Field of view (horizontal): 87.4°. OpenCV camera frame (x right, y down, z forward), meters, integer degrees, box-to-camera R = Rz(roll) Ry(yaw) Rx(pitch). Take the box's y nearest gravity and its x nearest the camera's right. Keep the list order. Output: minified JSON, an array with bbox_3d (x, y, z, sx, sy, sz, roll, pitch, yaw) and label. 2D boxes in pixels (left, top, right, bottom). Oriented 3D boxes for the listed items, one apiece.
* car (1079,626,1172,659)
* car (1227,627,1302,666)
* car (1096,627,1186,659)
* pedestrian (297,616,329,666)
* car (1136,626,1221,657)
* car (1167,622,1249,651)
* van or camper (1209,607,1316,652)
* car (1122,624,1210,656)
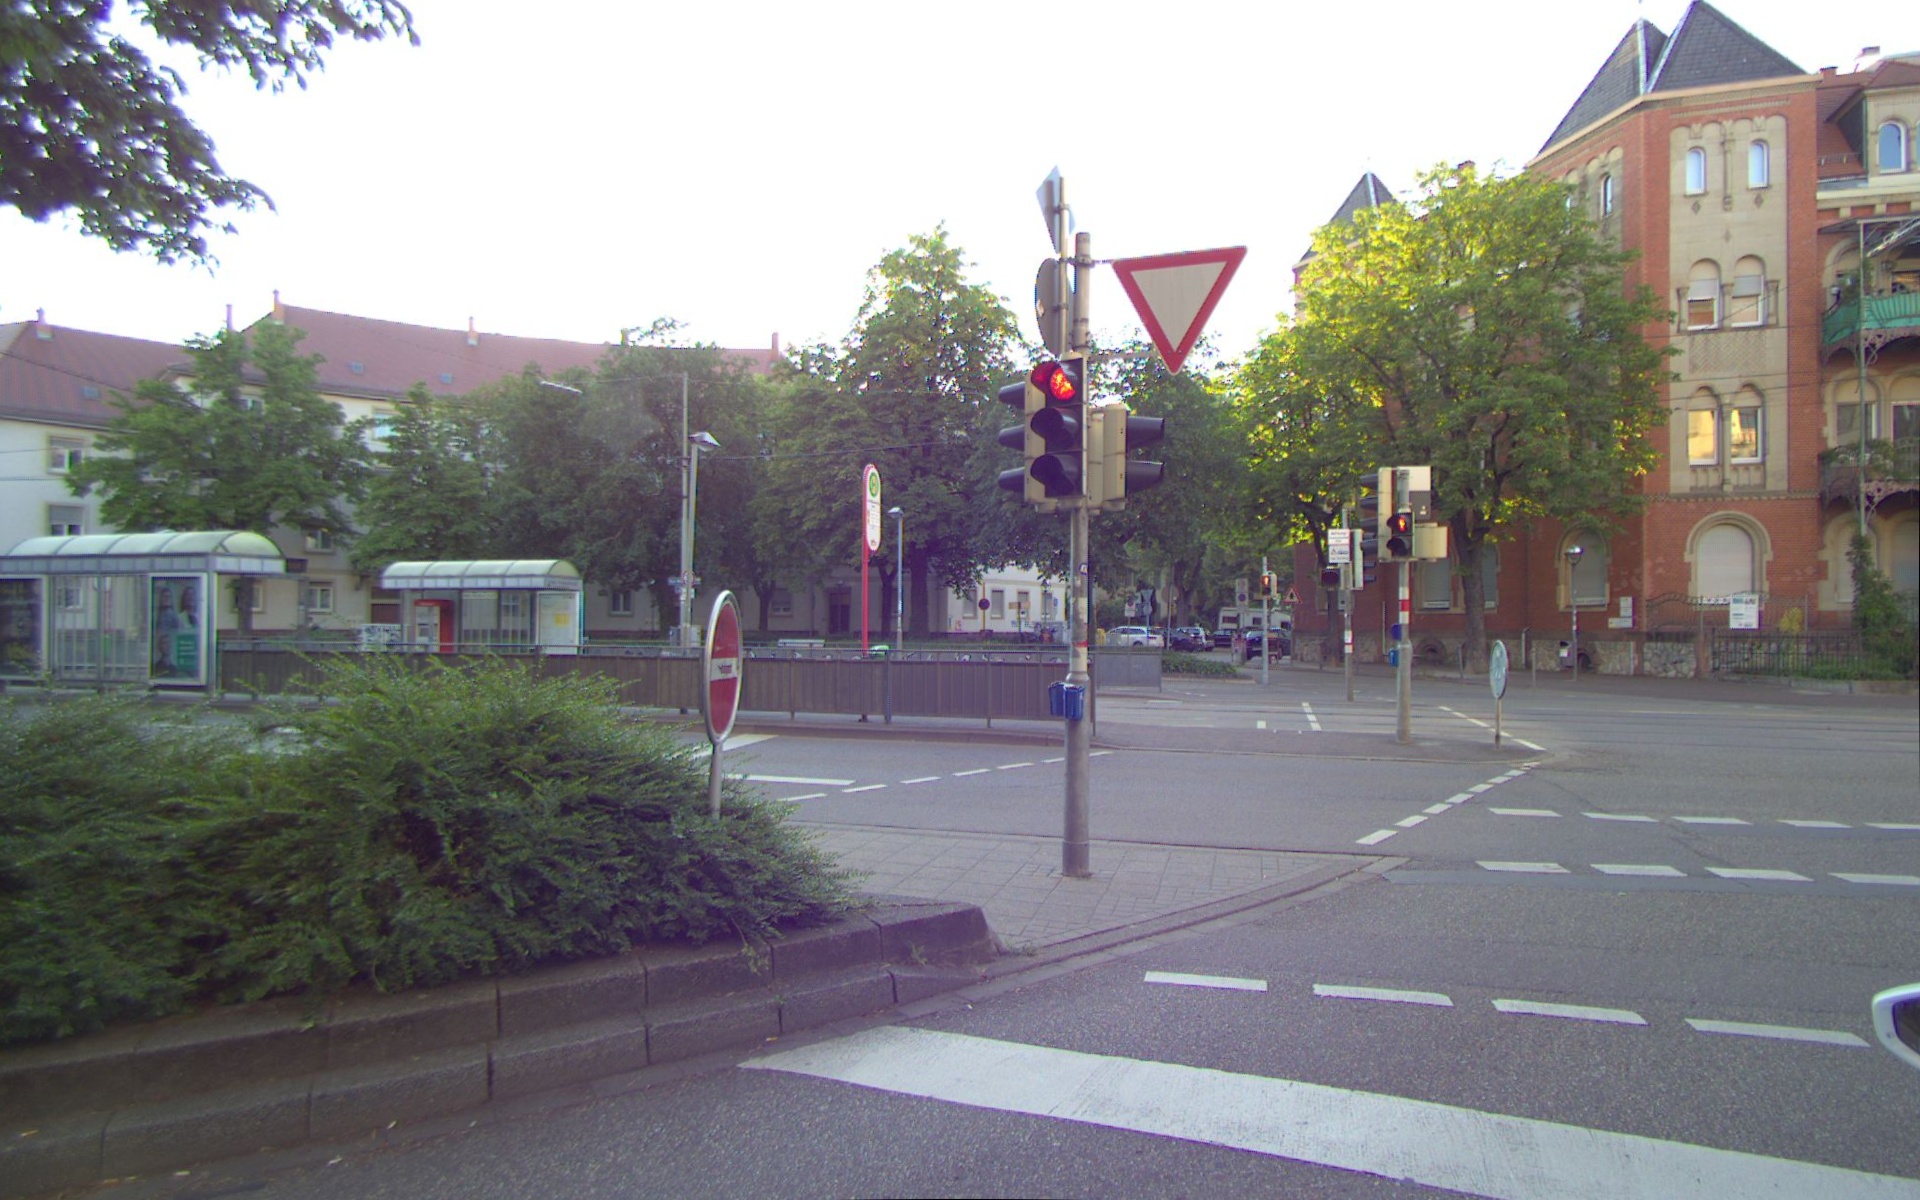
[{"bbox_3d":[9.517,2.418,57.905,4.884,1.726,1.994,1,-1,35],"label":"car"},{"bbox_3d":[14.774,2.209,48.532,1.968,1.726,4.702,1,-1,37],"label":"car"},{"bbox_3d":[10.752,2.526,59.764,4.884,1.726,1.994,1,-1,35],"label":"car"},{"bbox_3d":[-27.853,1.771,43.248,1.047,2.113,1.007,1,-2,-28],"label":"pedestrian"},{"bbox_3d":[13.905,2.627,64.110,4.884,1.726,1.994,1,-1,35],"label":"car"},{"bbox_3d":[16.272,2.366,65.986,4.884,1.726,1.994,1,-1,35],"label":"car"},{"bbox_3d":[22.922,2.184,76.197,7.266,3.124,2.665,1,-1,35],"label":"van or camper"},{"bbox_3d":[12.554,2.410,61.349,4.884,1.726,1.994,1,-1,35],"label":"car"}]
